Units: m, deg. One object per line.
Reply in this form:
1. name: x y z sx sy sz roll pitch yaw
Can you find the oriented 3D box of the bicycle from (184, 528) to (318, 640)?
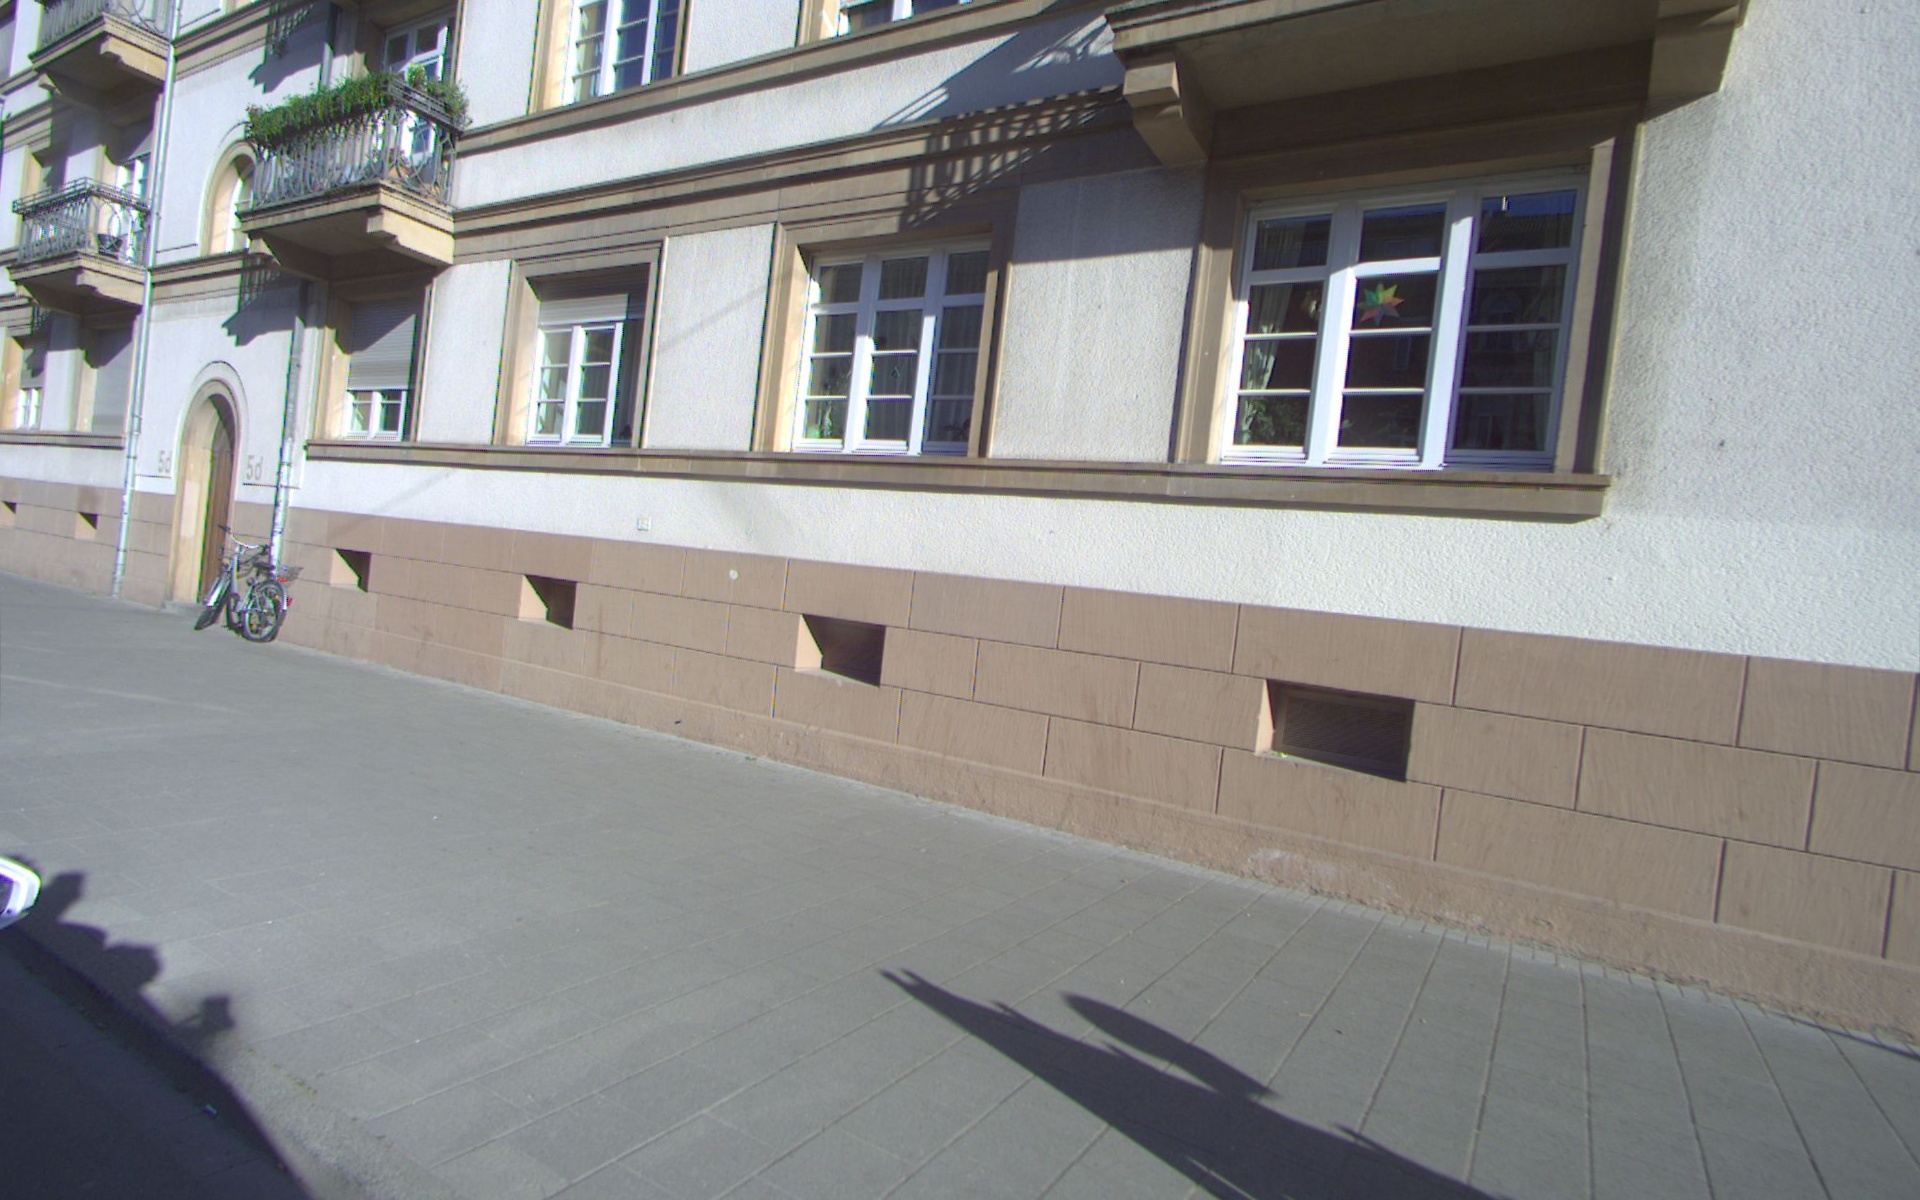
1. bicycle: -8.490 -0.213 12.008 2.162 1.109 0.418 7 1 32
